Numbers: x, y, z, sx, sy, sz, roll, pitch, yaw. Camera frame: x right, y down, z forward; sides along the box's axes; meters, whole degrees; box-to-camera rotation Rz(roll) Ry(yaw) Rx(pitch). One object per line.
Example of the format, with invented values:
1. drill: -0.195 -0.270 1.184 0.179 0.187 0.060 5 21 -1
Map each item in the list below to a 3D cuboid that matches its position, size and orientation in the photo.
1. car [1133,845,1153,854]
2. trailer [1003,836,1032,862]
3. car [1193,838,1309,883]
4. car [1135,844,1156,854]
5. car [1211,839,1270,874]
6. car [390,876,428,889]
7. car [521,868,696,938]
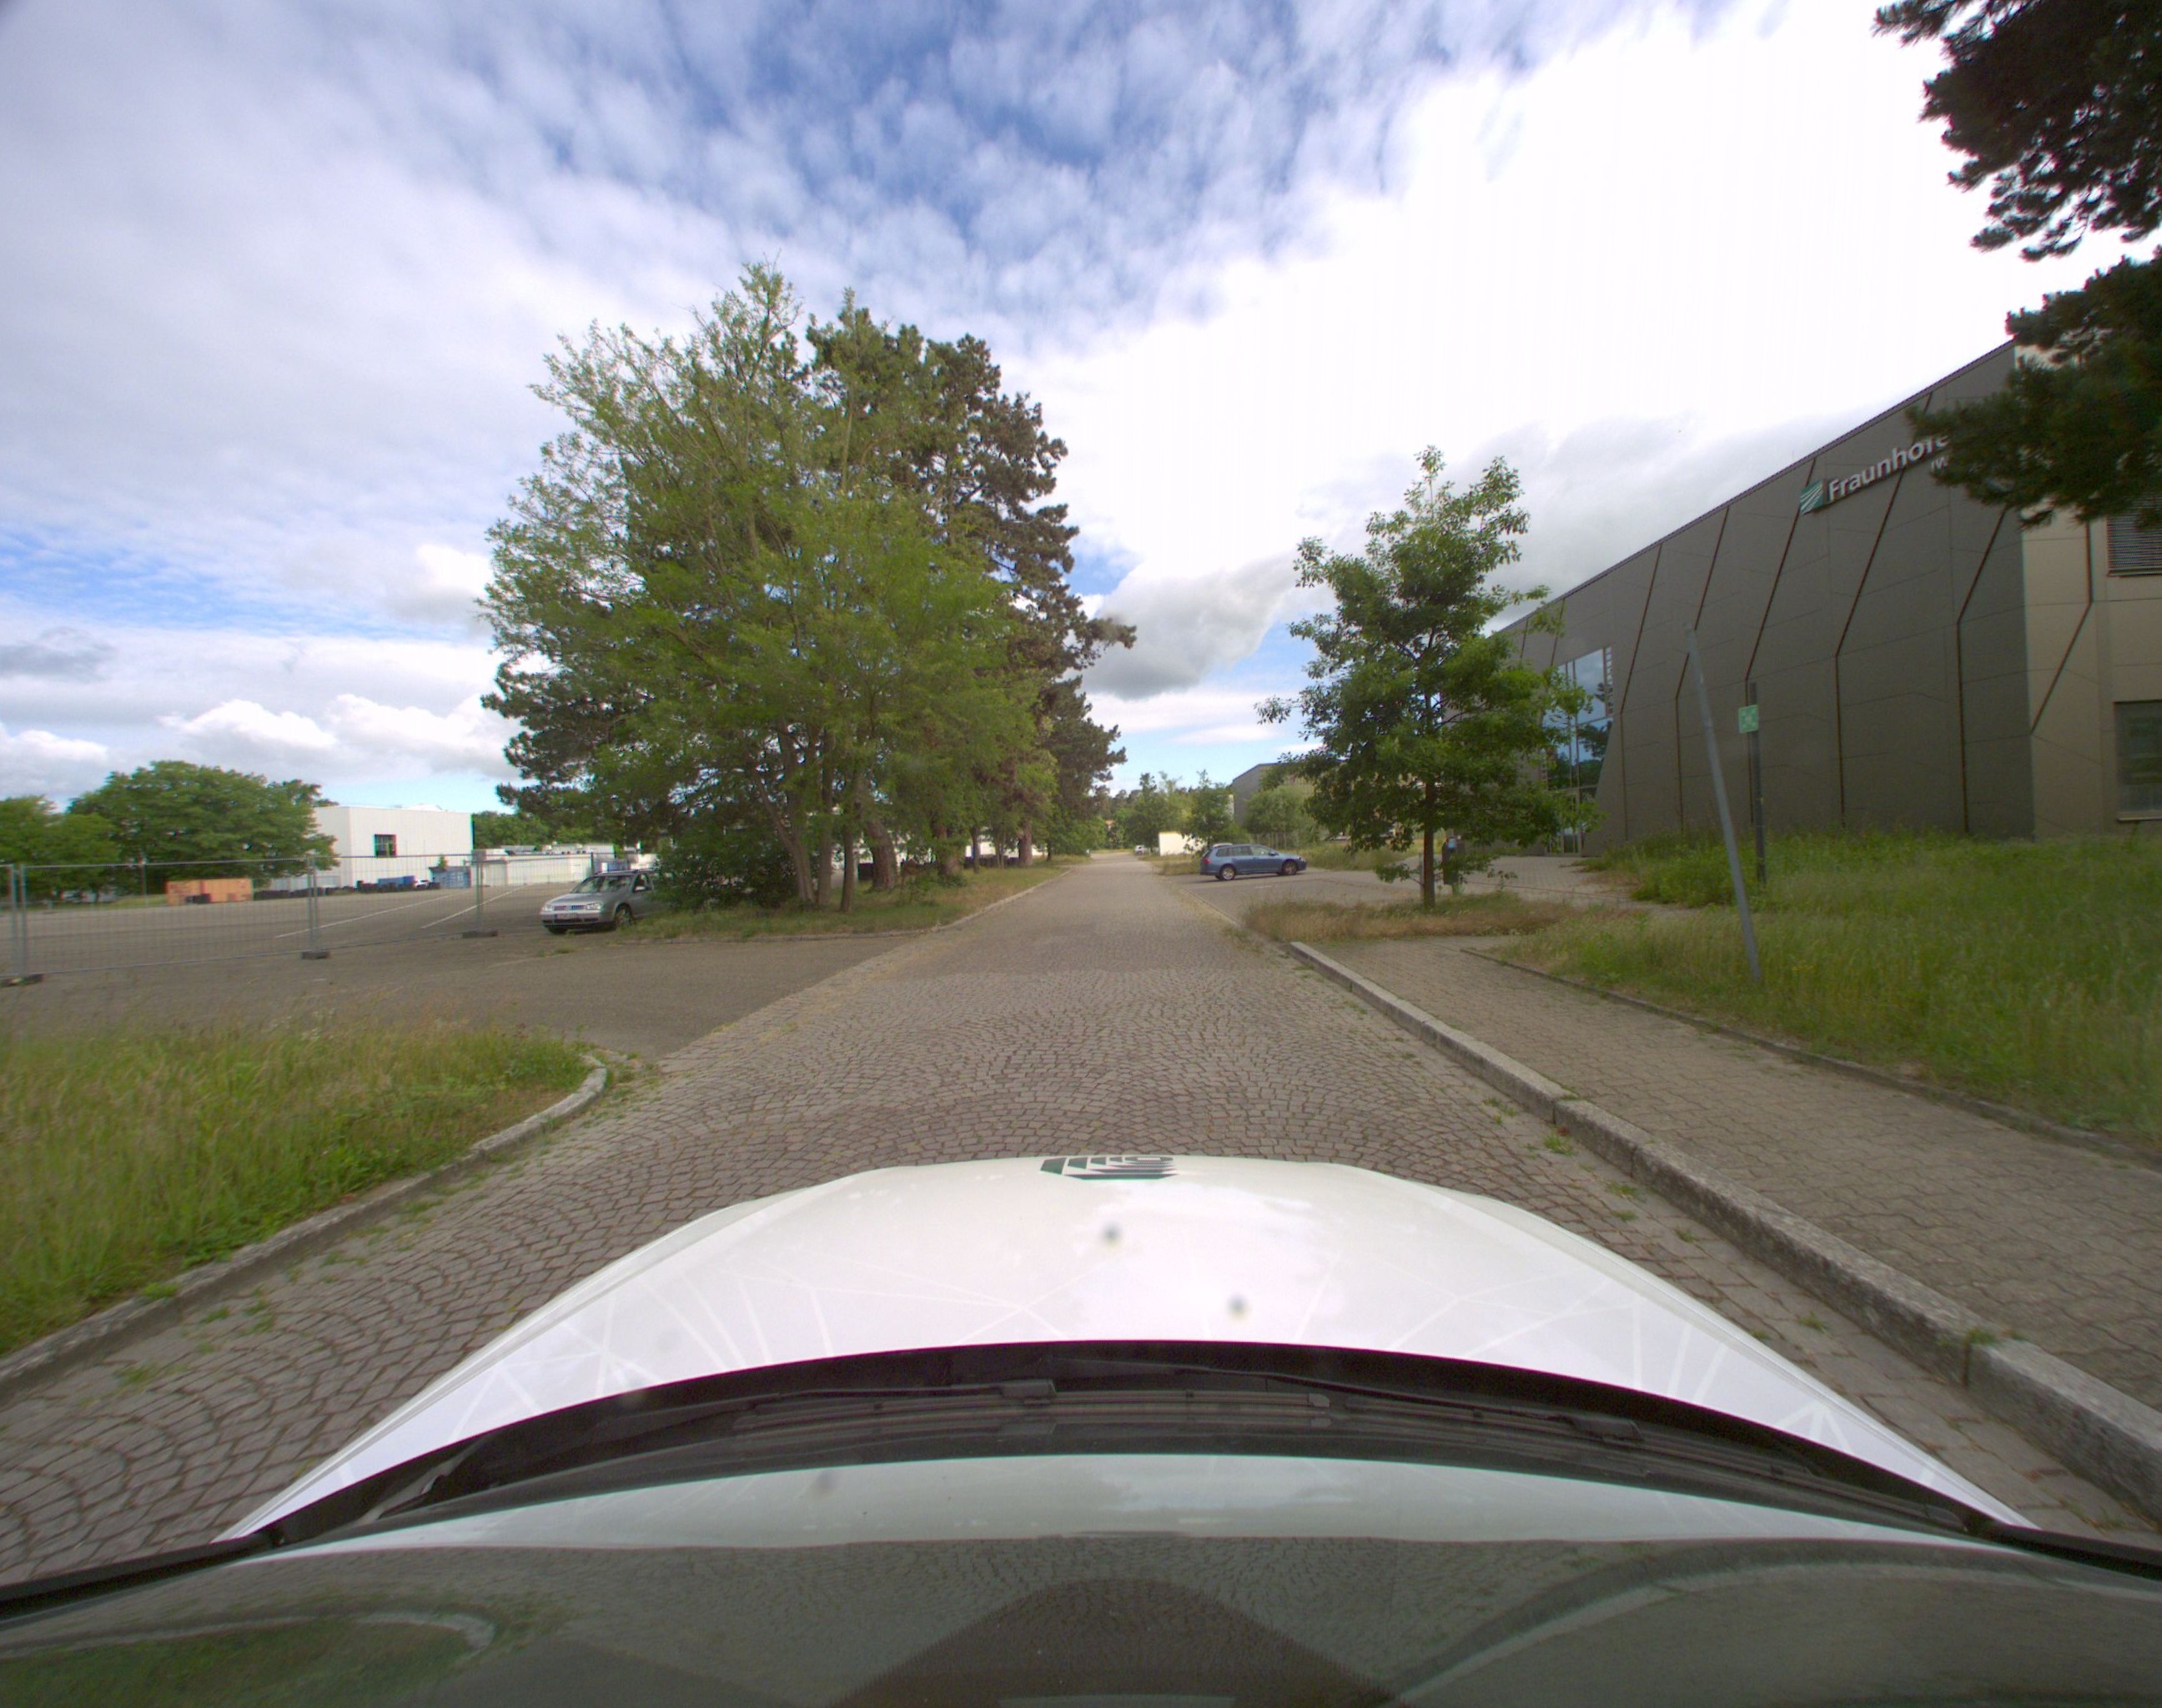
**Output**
1. car: 11.571 -0.812 151.971 3.508 1.362 1.624 -5 0 3
2. trailer: -9.464 -0.782 122.553 2.613 3.597 10.191 -2 0 5
3. car: 7.208 0.271 34.817 4.477 1.475 1.830 -5 0 -1
4. car: 12.230 -0.966 154.645 3.968 1.448 1.654 -5 0 3
5. car: 8.266 0.117 42.345 2.698 1.556 1.655 -5 0 3
6. car: -98.083 4.098 118.875 4.087 1.633 1.832 -2 0 3
7. car: -11.870 1.168 20.867 1.818 1.416 4.421 -3 0 0
